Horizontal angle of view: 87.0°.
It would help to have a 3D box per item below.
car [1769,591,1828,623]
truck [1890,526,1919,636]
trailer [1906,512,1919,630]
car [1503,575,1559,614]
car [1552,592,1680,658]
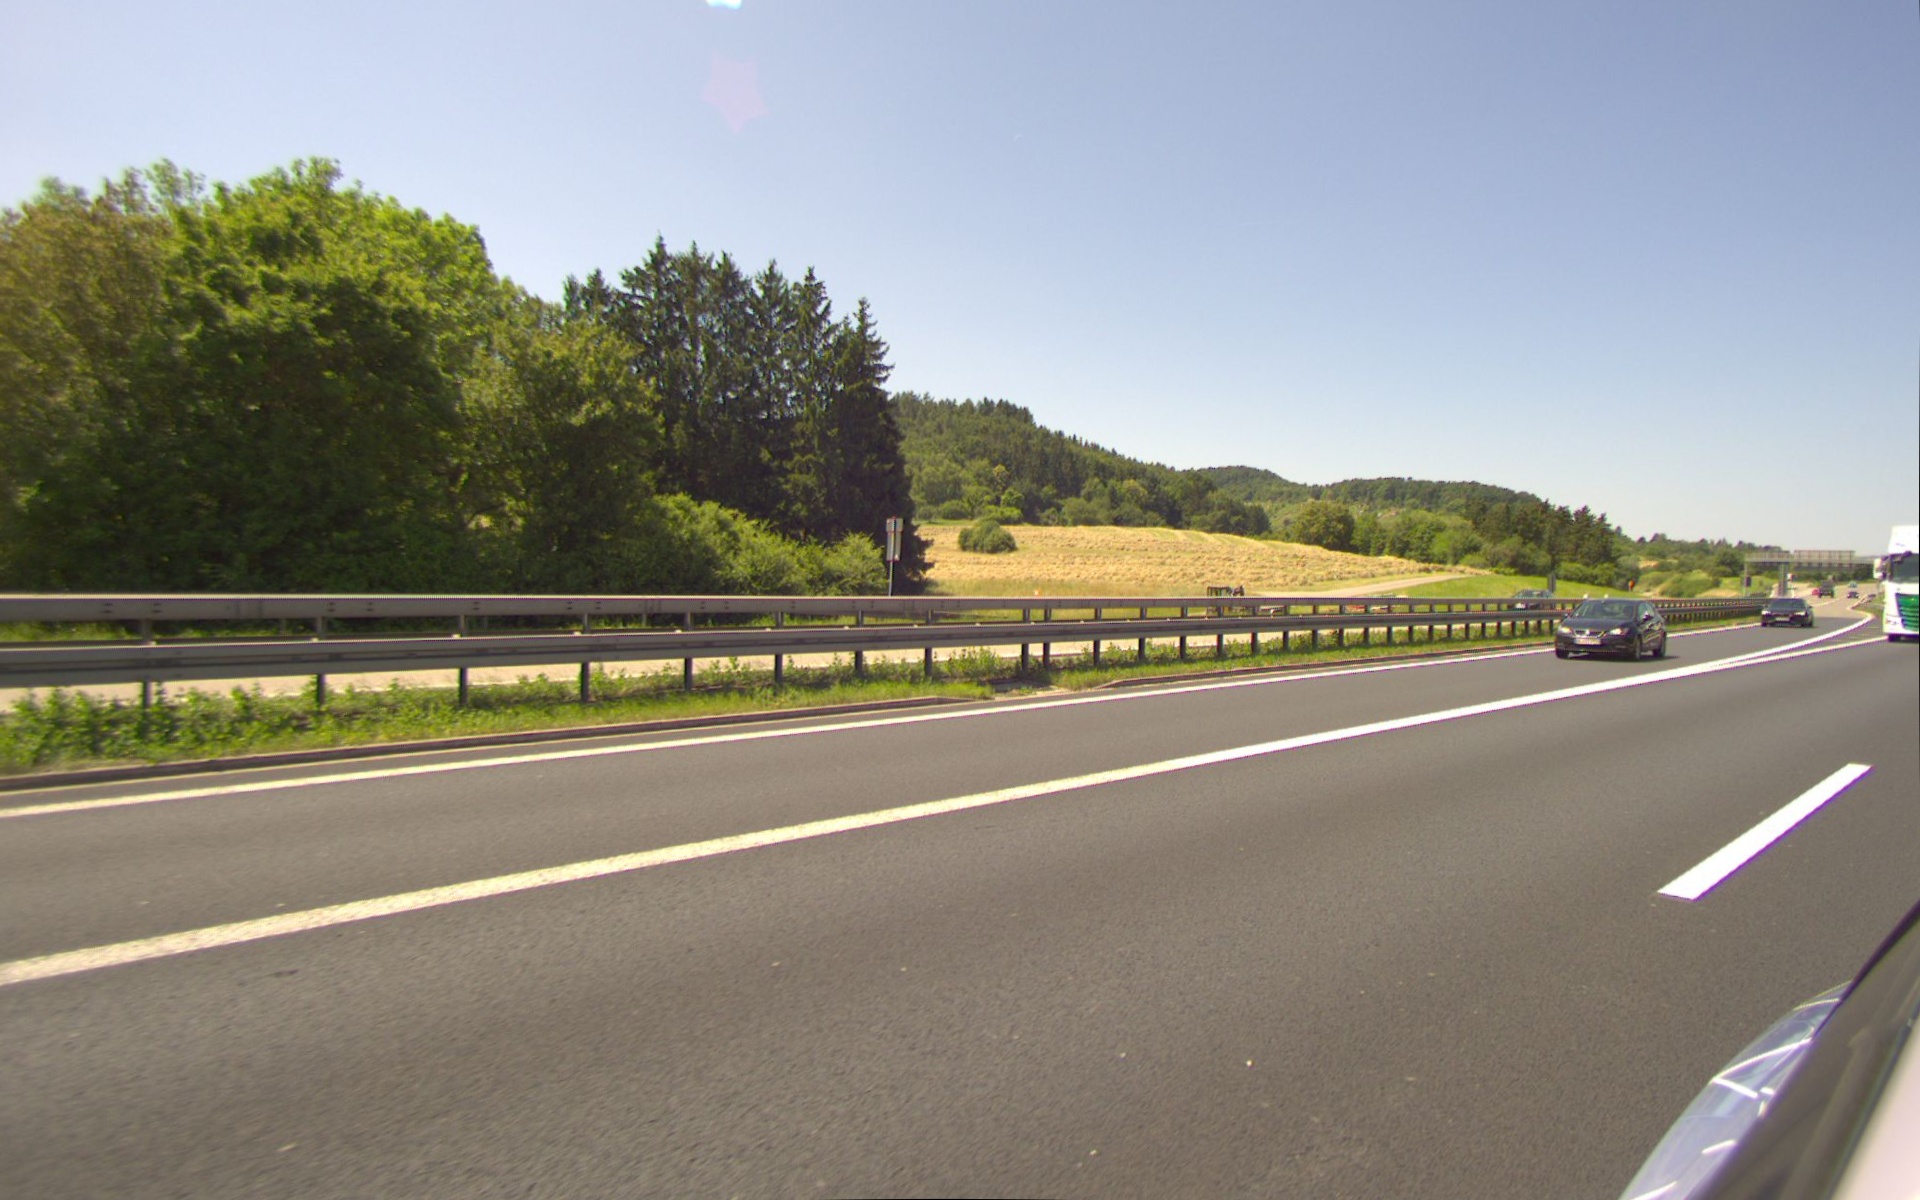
[{"bbox_3d":[40.970,0.300,49.442,1.888,1.491,3.805,0,1,45],"label":"car"},{"bbox_3d":[33.611,-0.647,34.331,4.328,3.638,2.646,-1,1,-42],"label":"truck"},{"bbox_3d":[40.715,-1.072,40.638,14.637,4.241,2.660,0,0,-42],"label":"trailer"},{"bbox_3d":[31.614,-0.322,56.015,1.992,2.039,3.941,0,1,41],"label":"car"},{"bbox_3d":[15.604,0.527,24.013,3.699,1.417,1.778,-1,1,-44],"label":"car"}]
